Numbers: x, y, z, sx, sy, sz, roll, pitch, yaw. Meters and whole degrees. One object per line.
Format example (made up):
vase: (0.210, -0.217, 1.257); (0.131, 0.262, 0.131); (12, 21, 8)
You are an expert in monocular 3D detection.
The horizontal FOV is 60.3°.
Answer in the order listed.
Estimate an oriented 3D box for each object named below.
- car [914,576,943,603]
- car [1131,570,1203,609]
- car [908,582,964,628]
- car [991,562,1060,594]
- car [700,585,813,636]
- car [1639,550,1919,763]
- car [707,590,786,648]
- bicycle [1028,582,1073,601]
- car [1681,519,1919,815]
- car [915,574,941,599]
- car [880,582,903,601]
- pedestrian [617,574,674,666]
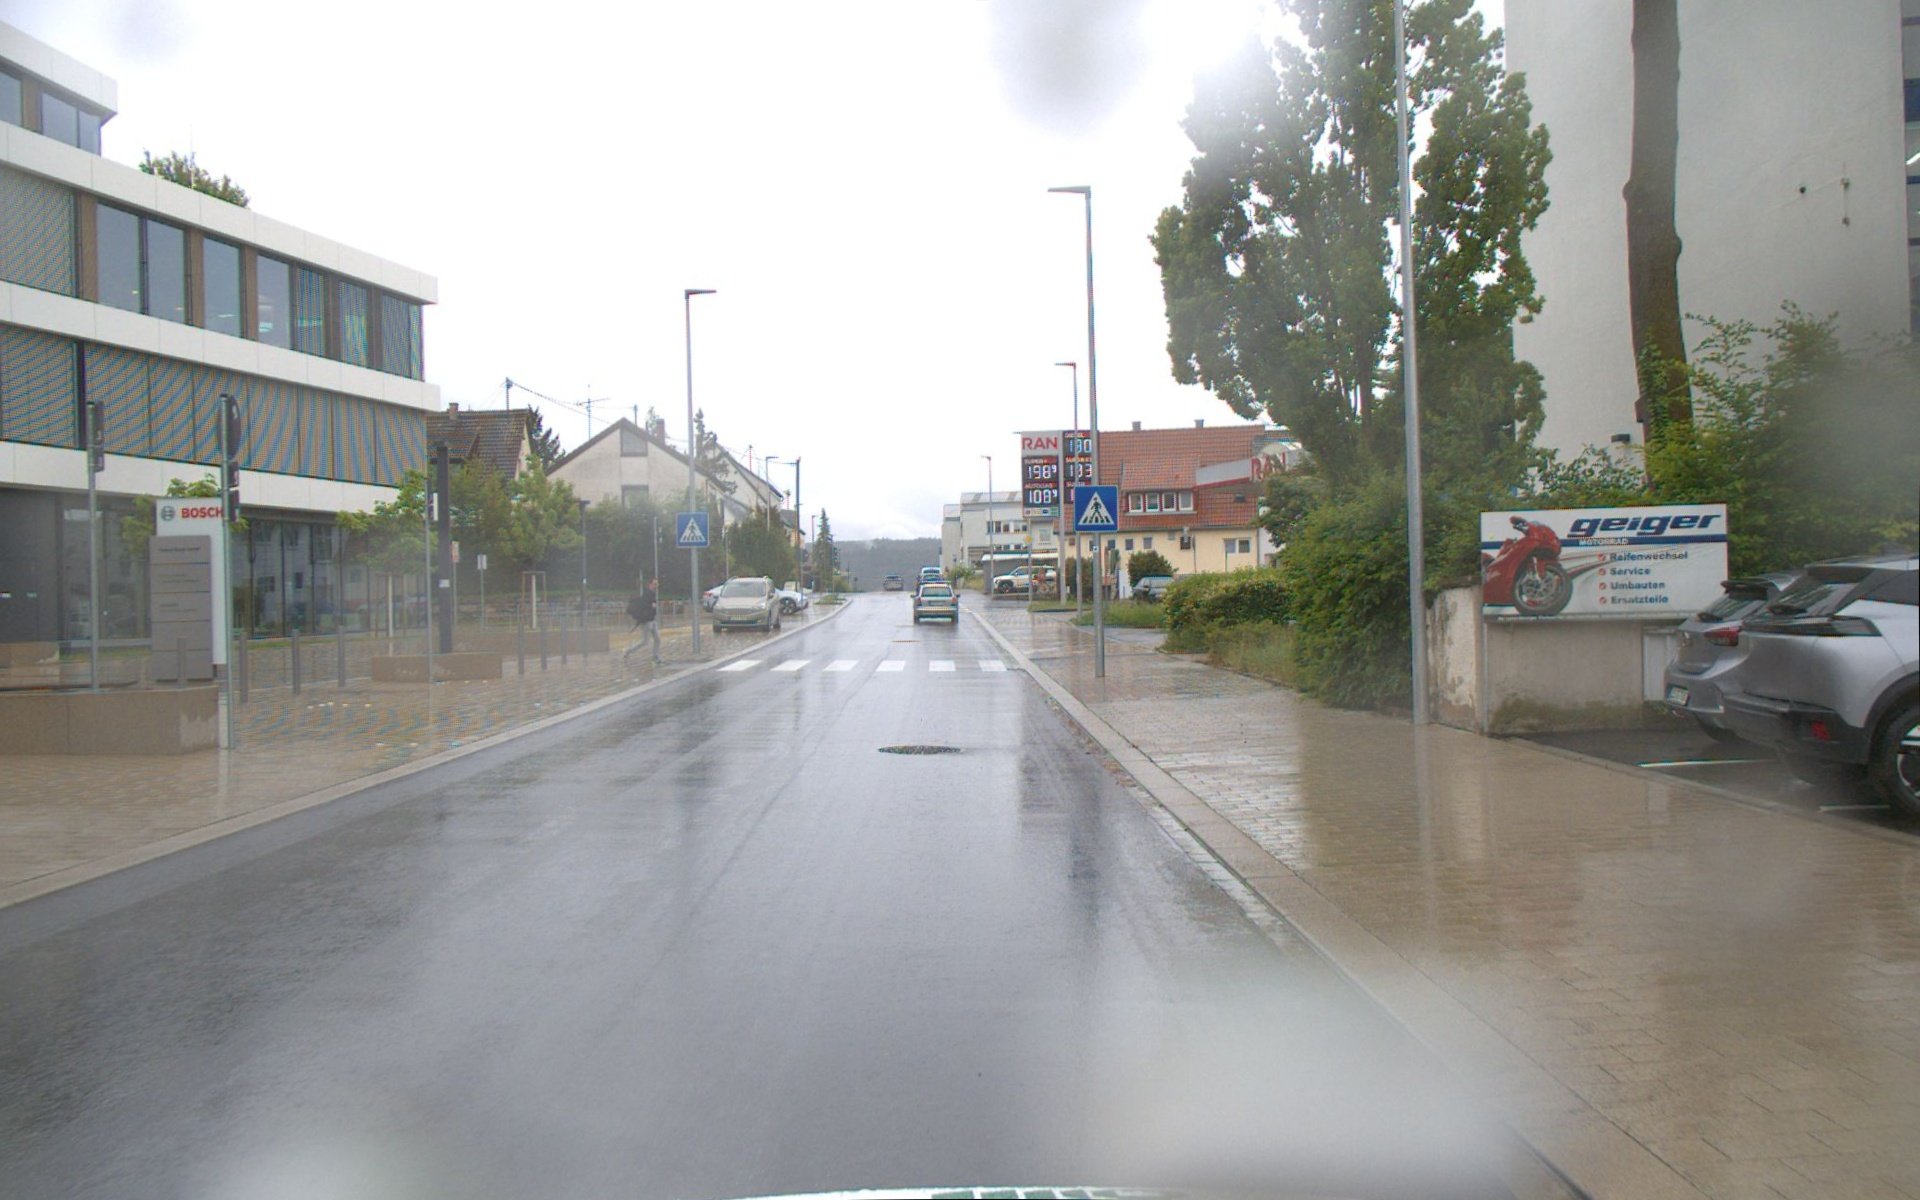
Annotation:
car: (-2.231, -0.715, 117.679); (1.953, 1.736, 3.999); (2, -1, -1)
car: (9.256, -0.451, 74.107); (1.959, 1.579, 3.987); (3, -1, -12)
car: (-0.946, 0.215, 62.490); (1.909, 1.583, 3.997); (2, -1, -3)
car: (4.027, -1.329, 101.959); (4.031, 1.736, 1.787); (2, -2, -4)
car: (-9.131, 0.486, 74.450); (4.654, 2.049, 2.000); (2, -2, 2)
car: (7.427, 0.374, 12.927); (3.544, 1.520, 1.808); (-2, 0, 8)
car: (-6.679, 0.566, 52.115); (1.953, 1.657, 4.152); (-2, 1, -1)
bicycle: (5.211, -0.485, 95.362); (0.662, 1.085, 3.589); (3, -2, -32)
car: (6.978, 0.292, 10.295); (4.118, 1.678, 2.002); (-3, 0, 9)
car: (-2.532, -1.037, 130.749); (1.953, 1.736, 3.999); (2, -1, -1)
car: (-6.661, -0.815, 161.357); (2.110, 1.736, 3.999); (2, -1, -1)
pedestrian: (-6.165, 0.384, 32.469); (0.993, 1.754, 0.772); (-1, 0, -4)
